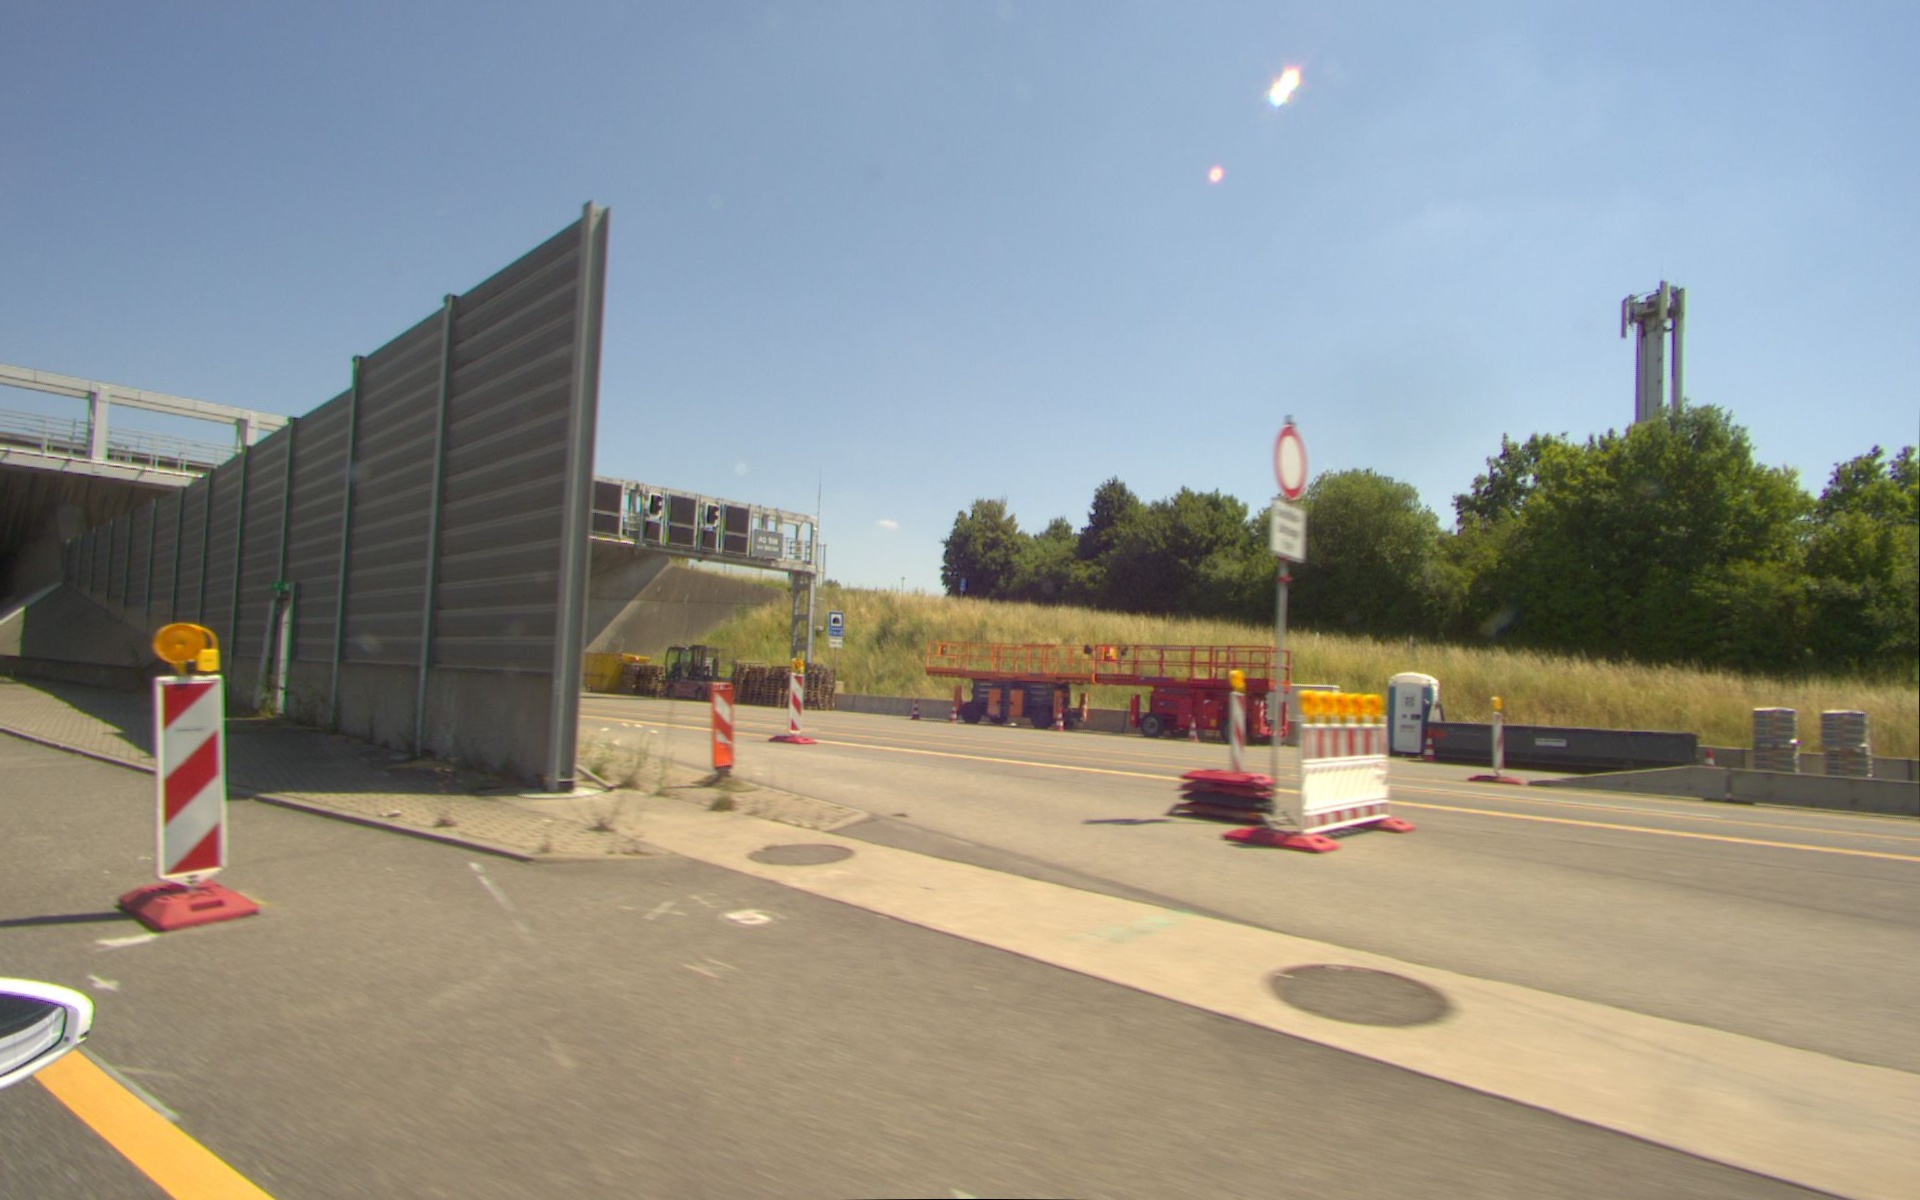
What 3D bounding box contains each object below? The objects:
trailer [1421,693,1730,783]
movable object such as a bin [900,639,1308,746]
[{"bbox_3d":[14.799,3.248,24.428,6.150,1.588,2.590,0,-3,34],"label":"trailer"},{"bbox_3d":[4.363,2.958,34.979,14.518,3.048,3.102,-1,-3,38],"label":"movable object such as a bin"}]
